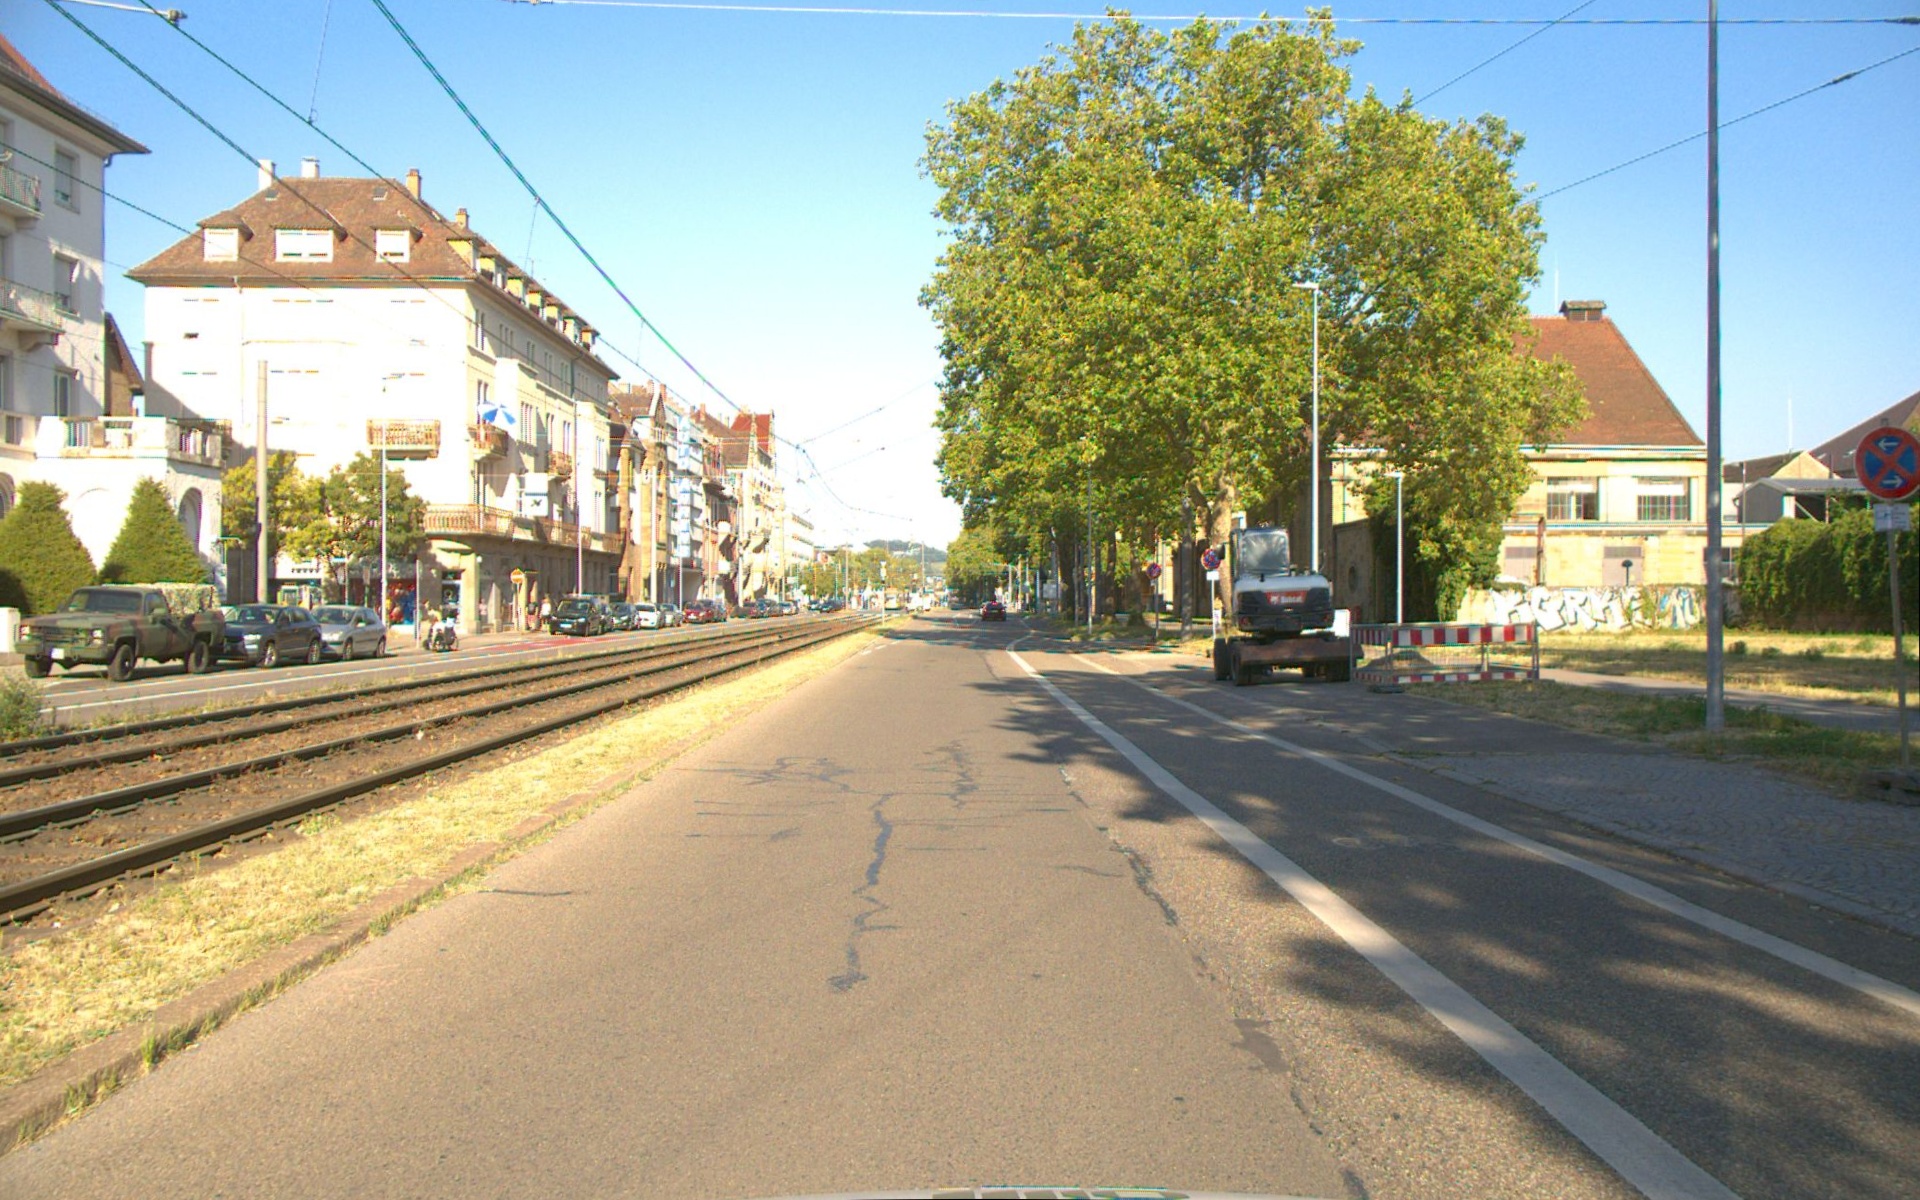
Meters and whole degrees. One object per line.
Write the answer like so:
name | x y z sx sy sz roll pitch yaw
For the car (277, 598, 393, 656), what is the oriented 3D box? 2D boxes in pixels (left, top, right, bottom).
car | -17.989 0.778 47.797 1.757 1.537 4.000 2 -1 1

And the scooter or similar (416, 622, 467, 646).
scooter or similar | -17.275 1.138 55.106 1.535 0.784 0.806 -1 0 31

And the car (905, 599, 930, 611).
car | -5.692 0.679 223.111 1.774 1.537 3.963 2 -1 -28

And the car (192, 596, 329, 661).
car | -17.805 0.732 42.287 1.601 1.534 4.159 2 -1 1

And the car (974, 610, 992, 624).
car | 2.424 1.789 176.385 1.796 1.415 4.158 1 0 -1

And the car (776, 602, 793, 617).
car | -19.564 1.021 184.260 1.759 1.536 3.996 3 0 -5

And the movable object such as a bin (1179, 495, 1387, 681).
movable object such as a bin | 6.308 -0.235 33.462 2.688 3.200 7.219 -3 0 1

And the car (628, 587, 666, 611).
car | -19.791 -0.082 104.806 1.602 1.494 4.159 1 0 0

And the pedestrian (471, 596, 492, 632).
pedestrian | -22.757 0.662 78.648 0.626 1.690 0.955 2 -1 1

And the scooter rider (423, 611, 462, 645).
scooter rider | -17.241 0.928 55.089 0.958 1.108 0.806 -1 0 31

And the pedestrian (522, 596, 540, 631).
pedestrian | -21.441 0.691 82.661 0.577 1.726 0.857 2 -1 1

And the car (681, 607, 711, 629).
car | -18.703 1.287 117.334 1.798 1.415 4.031 3 0 -5

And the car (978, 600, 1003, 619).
car | 2.340 0.728 129.449 1.796 1.415 4.158 1 0 -1

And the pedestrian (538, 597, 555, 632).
pedestrian | -20.672 0.717 82.687 0.577 1.726 0.857 2 -1 1

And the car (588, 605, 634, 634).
car | -19.041 1.043 90.355 1.602 1.494 4.158 3 0 -1

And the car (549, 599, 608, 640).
car | -18.294 0.913 79.494 1.825 1.817 4.400 2 0 -1

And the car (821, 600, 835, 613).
car | -16.836 0.774 211.128 1.602 1.629 4.157 -1 0 -2

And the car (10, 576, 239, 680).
car | -18.178 0.584 36.369 2.034 2.045 5.592 2 0 1

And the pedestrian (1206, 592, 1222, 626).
pedestrian | 13.190 0.480 85.790 0.596 1.711 0.636 -4 0 -3

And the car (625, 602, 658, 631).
car | -18.494 0.980 96.132 1.604 1.495 3.976 -1 -3 -7
